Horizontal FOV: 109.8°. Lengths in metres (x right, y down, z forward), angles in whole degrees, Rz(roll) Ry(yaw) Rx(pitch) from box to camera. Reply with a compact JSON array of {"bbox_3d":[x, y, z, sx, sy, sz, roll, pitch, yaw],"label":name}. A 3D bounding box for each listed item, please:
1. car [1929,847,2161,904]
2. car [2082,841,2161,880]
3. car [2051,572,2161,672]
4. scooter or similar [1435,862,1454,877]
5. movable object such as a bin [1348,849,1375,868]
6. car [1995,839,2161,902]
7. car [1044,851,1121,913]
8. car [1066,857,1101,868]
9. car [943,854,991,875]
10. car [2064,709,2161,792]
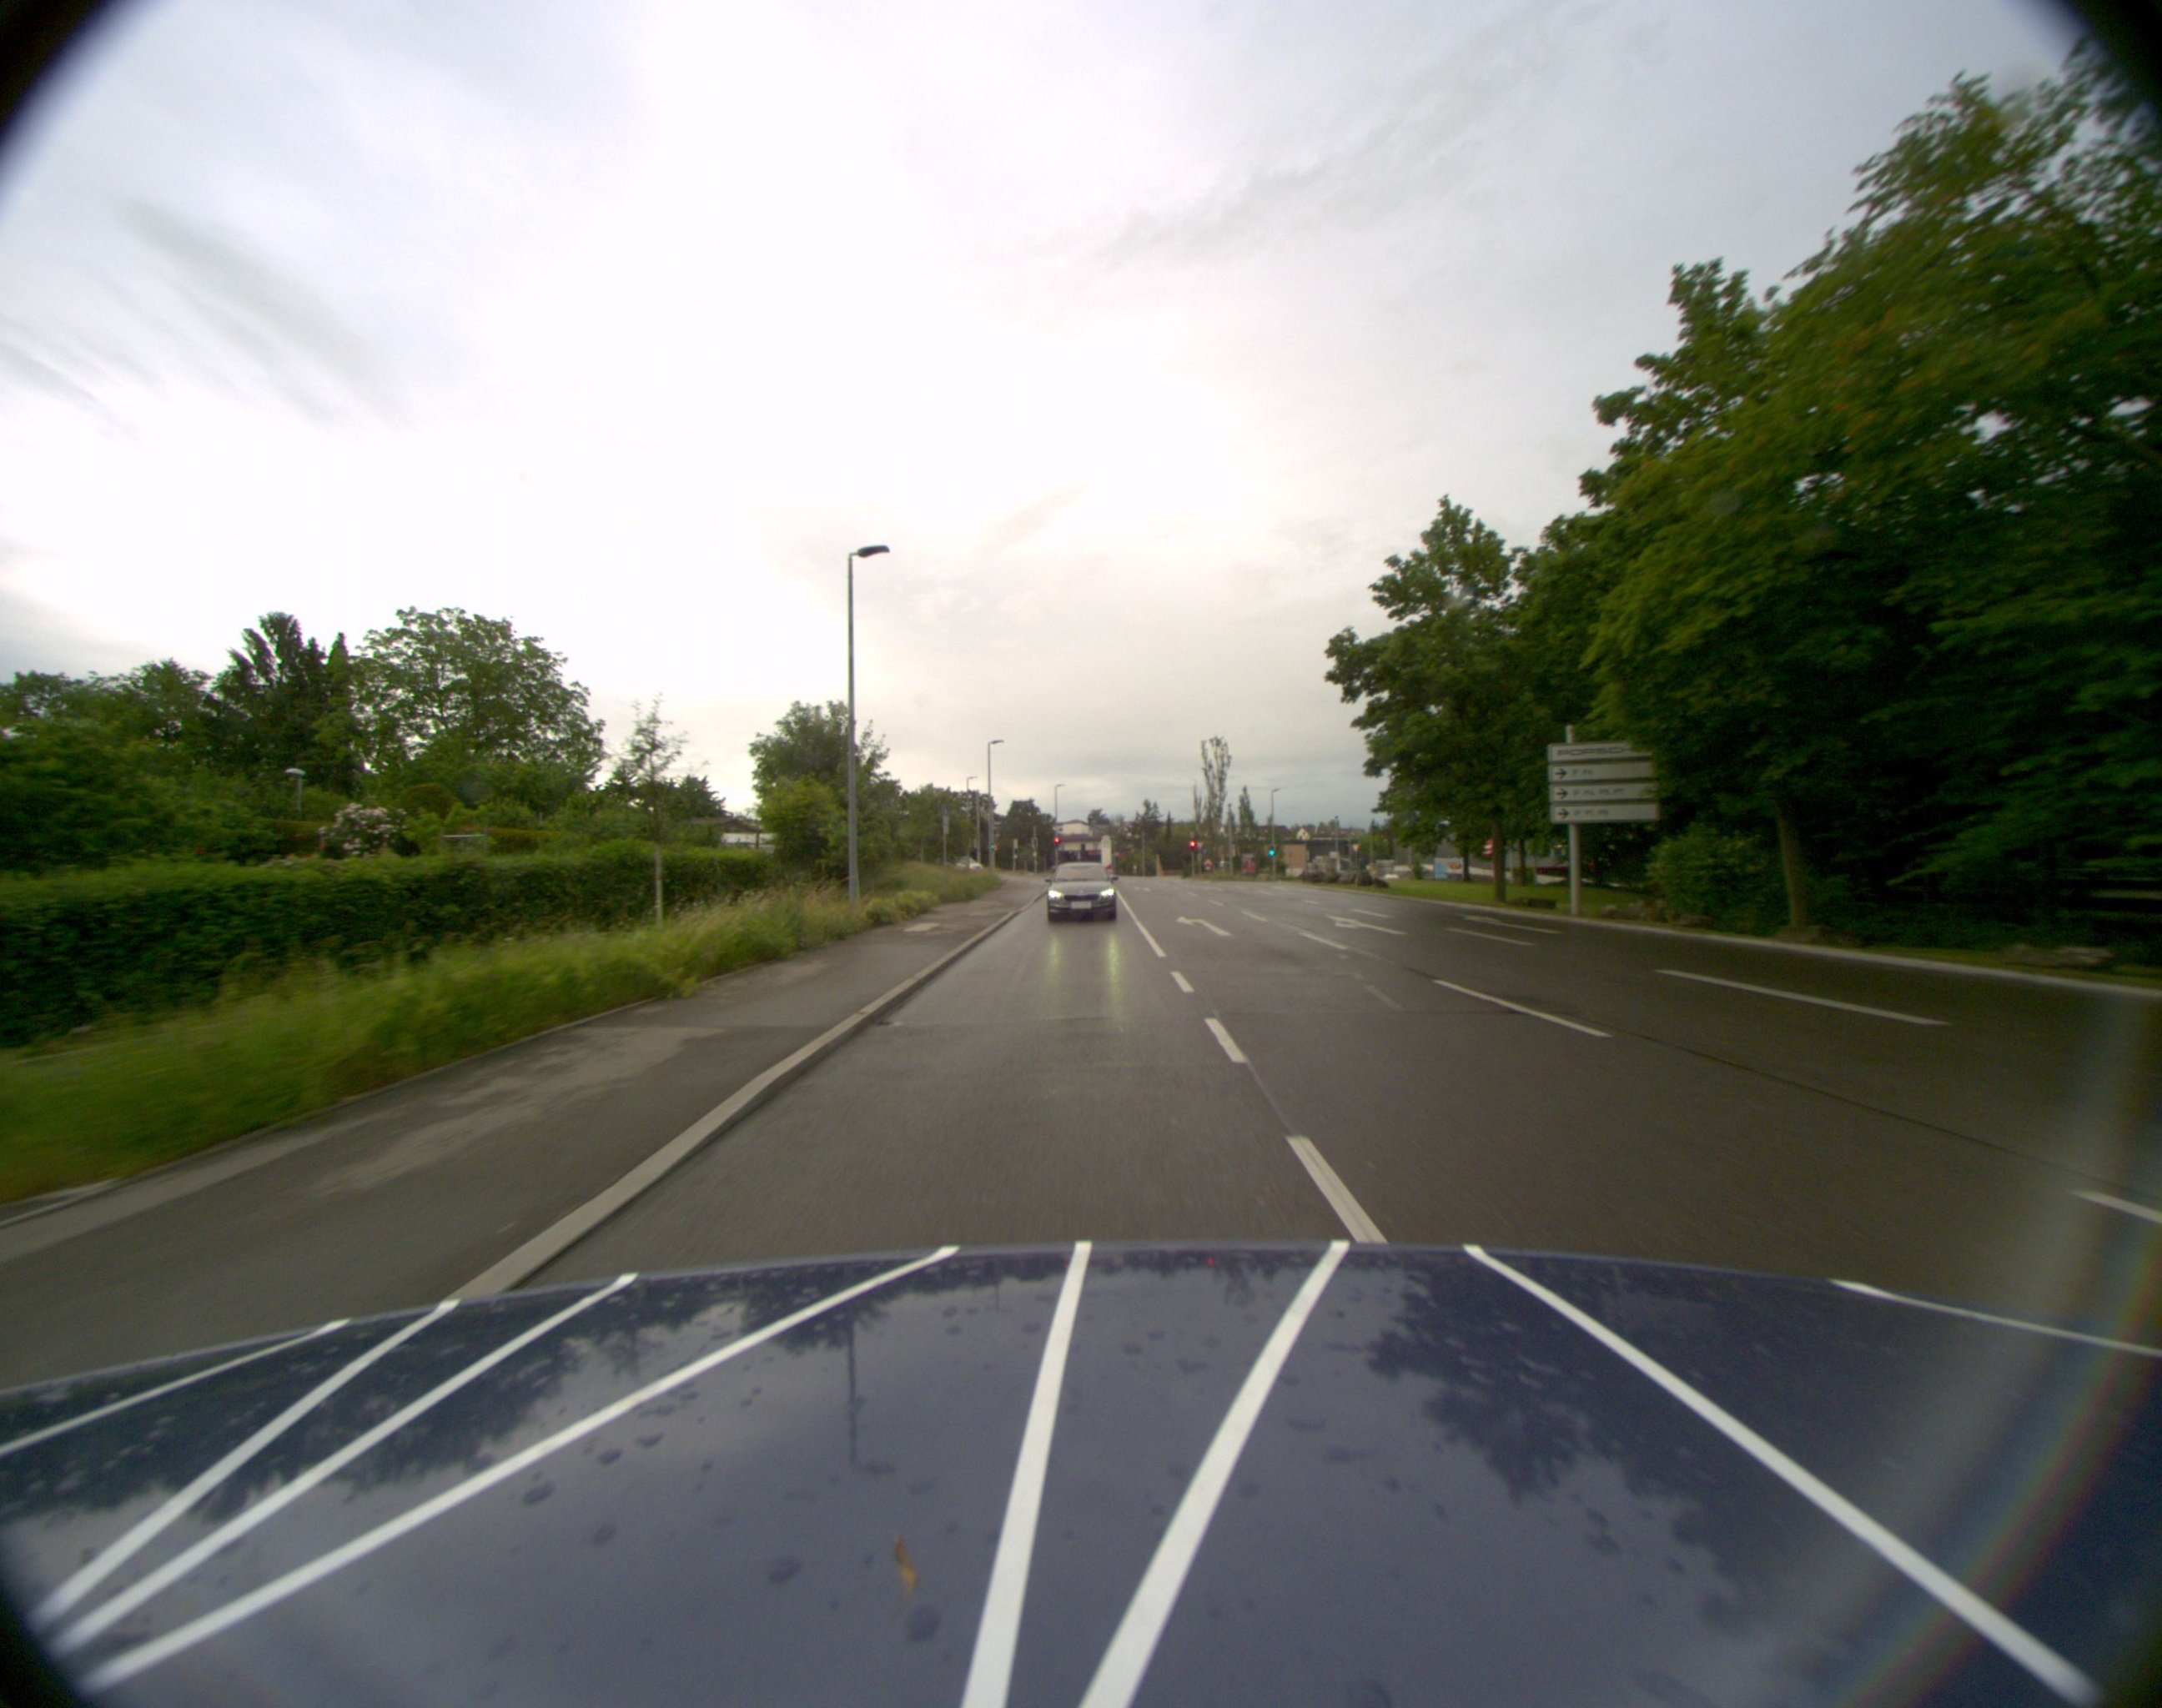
[{"bbox_3d":[27.759,0.576,21.898,3.989,1.510,2.004,0,0,28],"label":"car"},{"bbox_3d":[42.920,0.243,29.773,3.990,1.510,2.003,0,0,23],"label":"car"},{"bbox_3d":[23.788,-5.095,15.771,3.990,1.509,2.004,-4,-2,29],"label":"car"},{"bbox_3d":[31.143,1.293,65.035,1.357,1.251,0.549,2,-1,-5],"label":"scooter or similar"},{"bbox_3d":[38.632,0.638,104.618,2.996,2.611,1.929,2,-1,1],"label":"movable object such as a bin"},{"bbox_3d":[26.606,0.392,19.212,3.989,1.510,2.004,0,0,29],"label":"car"},{"bbox_3d":[0.046,0.717,20.719,1.839,1.448,4.202,-3,-1,0],"label":"car"},{"bbox_3d":[0.317,1.068,94.689,4.036,1.396,1.842,0,-1,8],"label":"car"},{"bbox_3d":[-10.342,0.931,68.762,4.051,1.596,1.826,2,5,34],"label":"car"},{"bbox_3d":[23.913,-2.293,15.626,3.990,1.509,2.004,-4,-2,29],"label":"car"}]
